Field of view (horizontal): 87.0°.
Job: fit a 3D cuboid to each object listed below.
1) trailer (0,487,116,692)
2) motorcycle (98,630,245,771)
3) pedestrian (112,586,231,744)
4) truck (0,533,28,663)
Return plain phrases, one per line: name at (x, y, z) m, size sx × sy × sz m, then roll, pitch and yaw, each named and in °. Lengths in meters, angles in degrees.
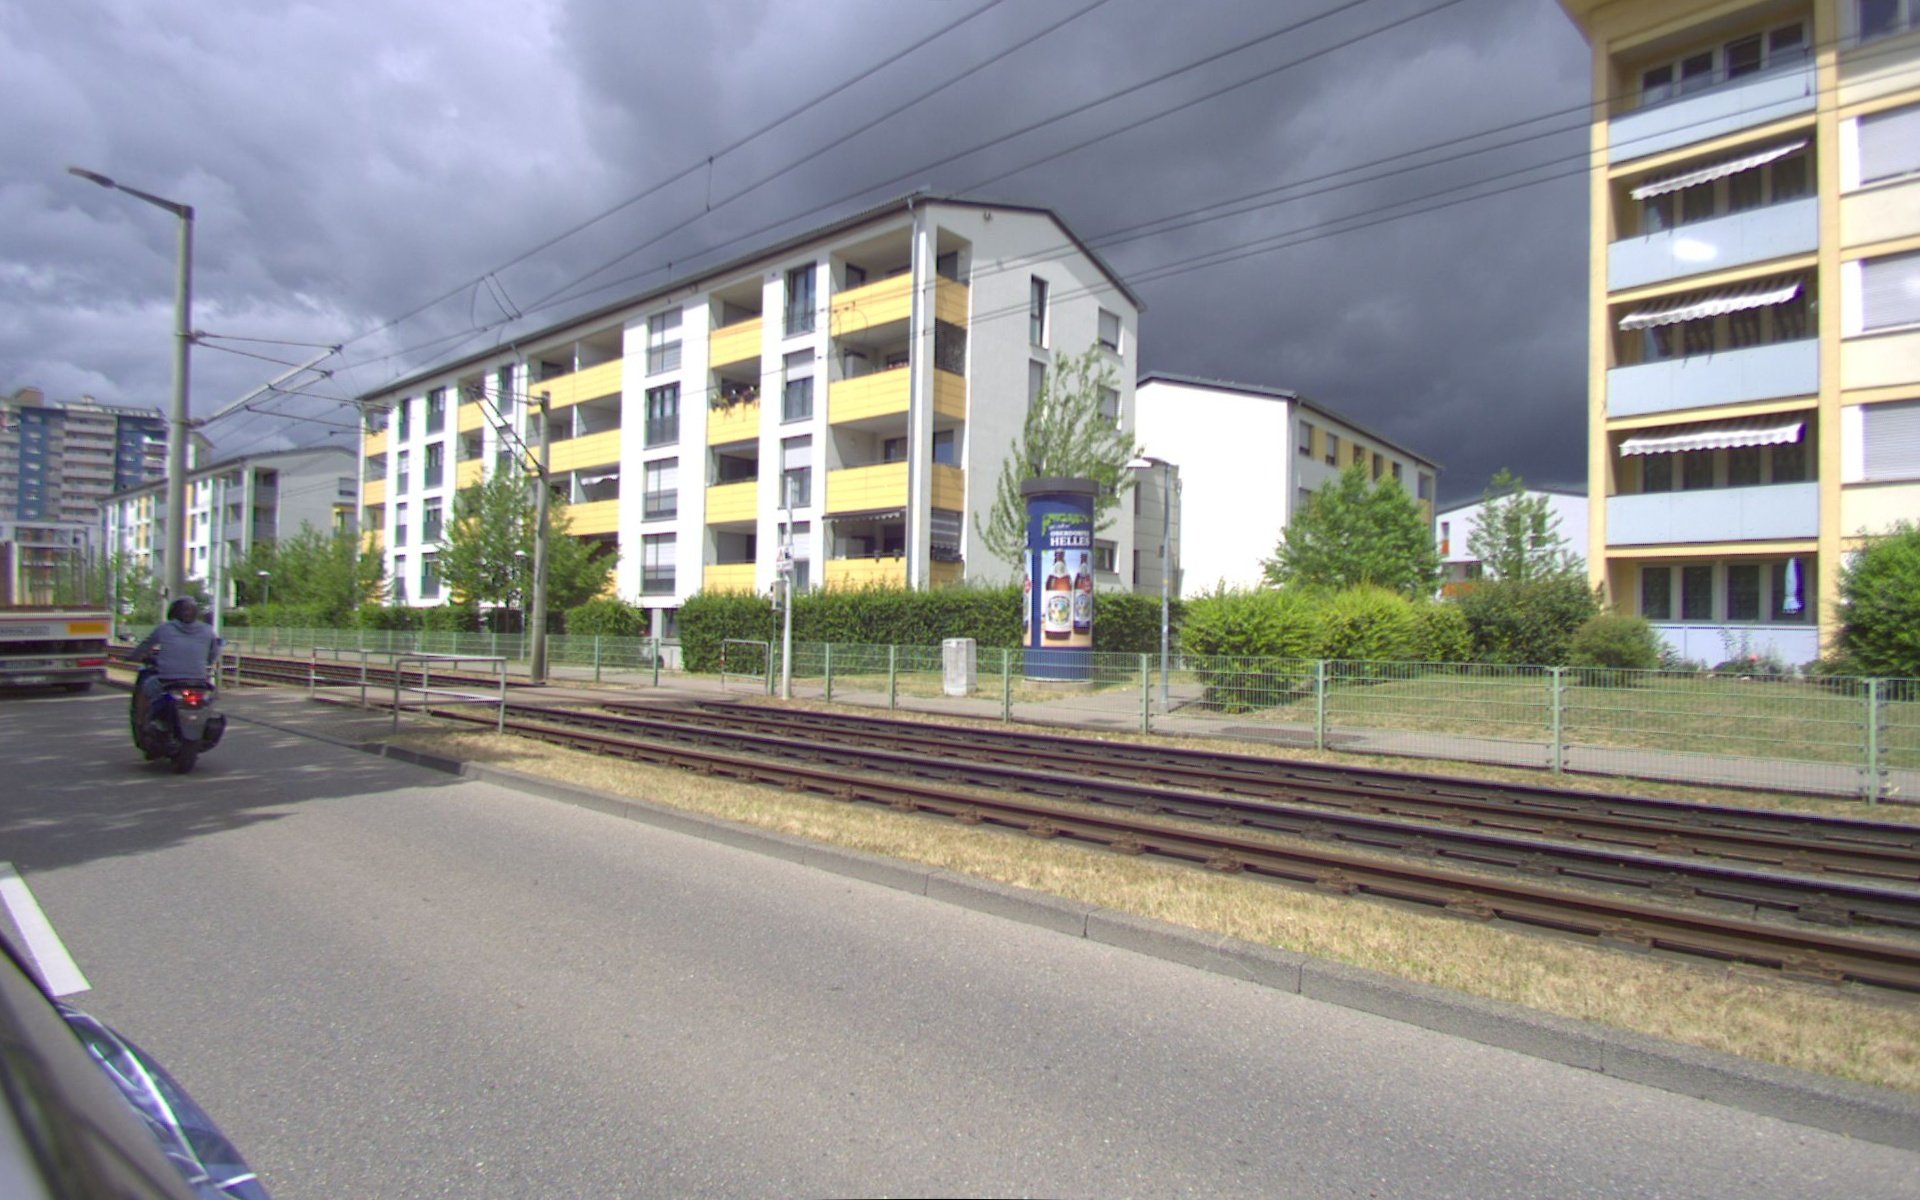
trailer at (-21.570, -0.109, 22.129) m, size 14.613 × 3.475 × 2.837 m, roll -1°, pitch 0°, yaw 42°
motorcycle at (-7.611, 0.904, 9.737) m, size 1.869 × 1.197 × 0.773 m, roll -1°, pitch -1°, yaw 41°
pedestrian at (-7.555, 0.585, 9.695) m, size 0.926 × 1.427 × 0.728 m, roll -1°, pitch 0°, yaw 41°
truck at (-27.752, -0.029, 27.783) m, size 4.415 × 3.475 × 2.814 m, roll -1°, pitch 0°, yaw 42°
